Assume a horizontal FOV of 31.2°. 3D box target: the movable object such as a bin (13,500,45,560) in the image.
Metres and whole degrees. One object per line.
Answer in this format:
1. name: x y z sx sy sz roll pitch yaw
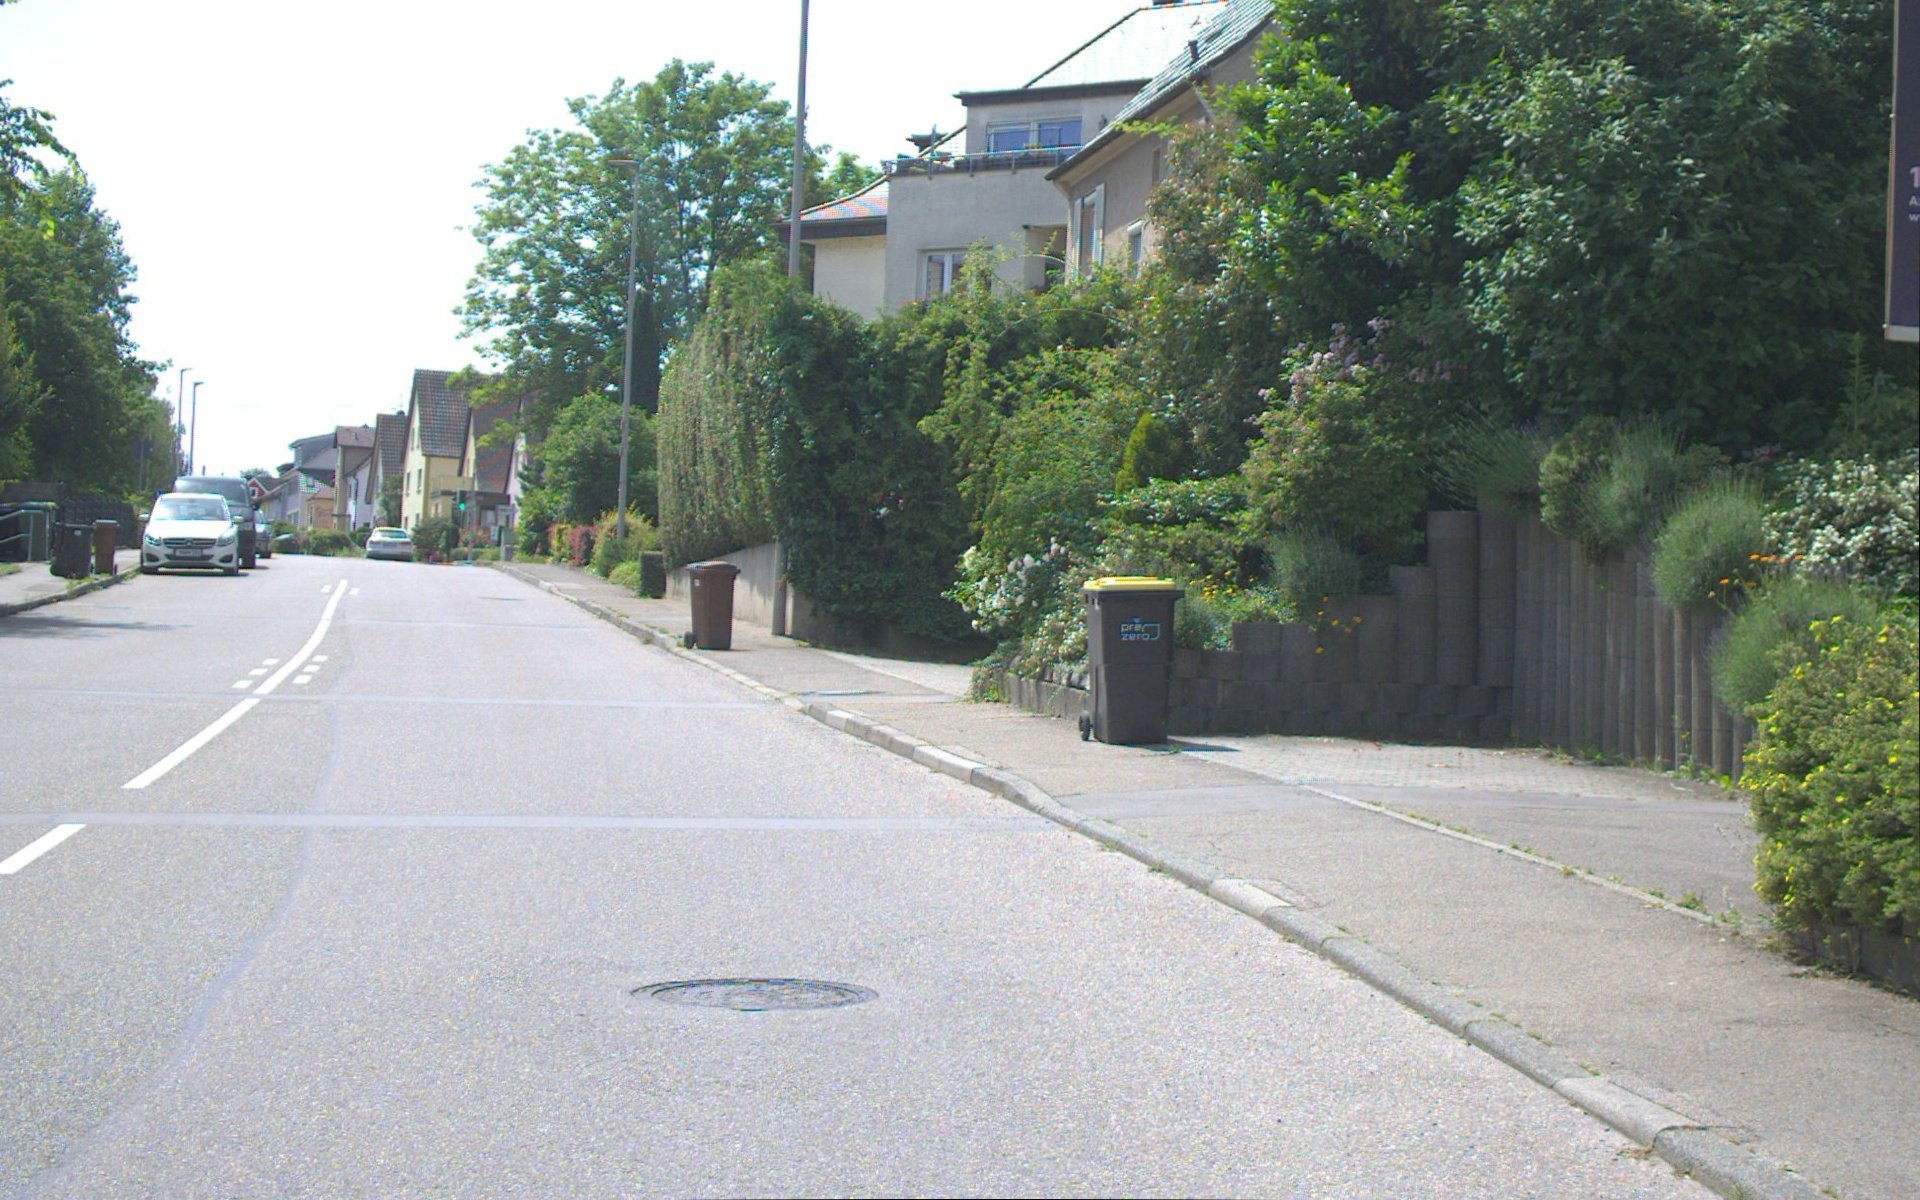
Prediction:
1. movable object such as a bin: -17.442 -1.317 64.440 0.516 1.100 0.530 1 1 -11

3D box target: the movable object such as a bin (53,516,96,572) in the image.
1. movable object such as a bin: -14.897 -0.947 57.848 0.563 0.914 0.642 2 1 -3

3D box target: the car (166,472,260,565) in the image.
1. car: -16.184 -1.788 74.446 1.896 1.913 4.872 1 2 -12

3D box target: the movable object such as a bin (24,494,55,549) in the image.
1. movable object such as a bin: -17.445 -1.481 65.154 0.456 1.040 0.560 0 0 -3

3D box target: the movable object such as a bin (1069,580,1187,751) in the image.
1. movable object such as a bin: 1.087 0.415 22.367 0.588 1.055 0.920 1 1 -7

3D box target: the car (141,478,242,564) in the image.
1. car: -14.977 -1.562 67.133 1.810 1.544 4.244 2 1 -12

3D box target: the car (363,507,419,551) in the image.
1. car: -22.192 -2.779 133.972 1.993 1.598 4.001 2 1 -11

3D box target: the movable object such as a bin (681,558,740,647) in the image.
1. movable object such as a bin: -2.816 0.023 38.748 0.588 0.974 0.786 0 1 -10

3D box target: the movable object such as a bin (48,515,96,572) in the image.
1. movable object such as a bin: -14.619 -0.934 56.579 0.619 0.914 0.686 2 1 -3

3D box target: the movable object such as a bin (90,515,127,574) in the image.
1. movable object such as a bin: -14.711 -0.960 59.403 0.506 0.985 0.563 2 1 -3

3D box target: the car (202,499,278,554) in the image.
1. car: -19.086 -1.932 91.218 1.779 1.389 4.410 1 1 -10

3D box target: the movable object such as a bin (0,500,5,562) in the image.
1. movable object such as a bin: -18.315 -1.302 64.674 0.476 1.174 0.840 2 1 -5
